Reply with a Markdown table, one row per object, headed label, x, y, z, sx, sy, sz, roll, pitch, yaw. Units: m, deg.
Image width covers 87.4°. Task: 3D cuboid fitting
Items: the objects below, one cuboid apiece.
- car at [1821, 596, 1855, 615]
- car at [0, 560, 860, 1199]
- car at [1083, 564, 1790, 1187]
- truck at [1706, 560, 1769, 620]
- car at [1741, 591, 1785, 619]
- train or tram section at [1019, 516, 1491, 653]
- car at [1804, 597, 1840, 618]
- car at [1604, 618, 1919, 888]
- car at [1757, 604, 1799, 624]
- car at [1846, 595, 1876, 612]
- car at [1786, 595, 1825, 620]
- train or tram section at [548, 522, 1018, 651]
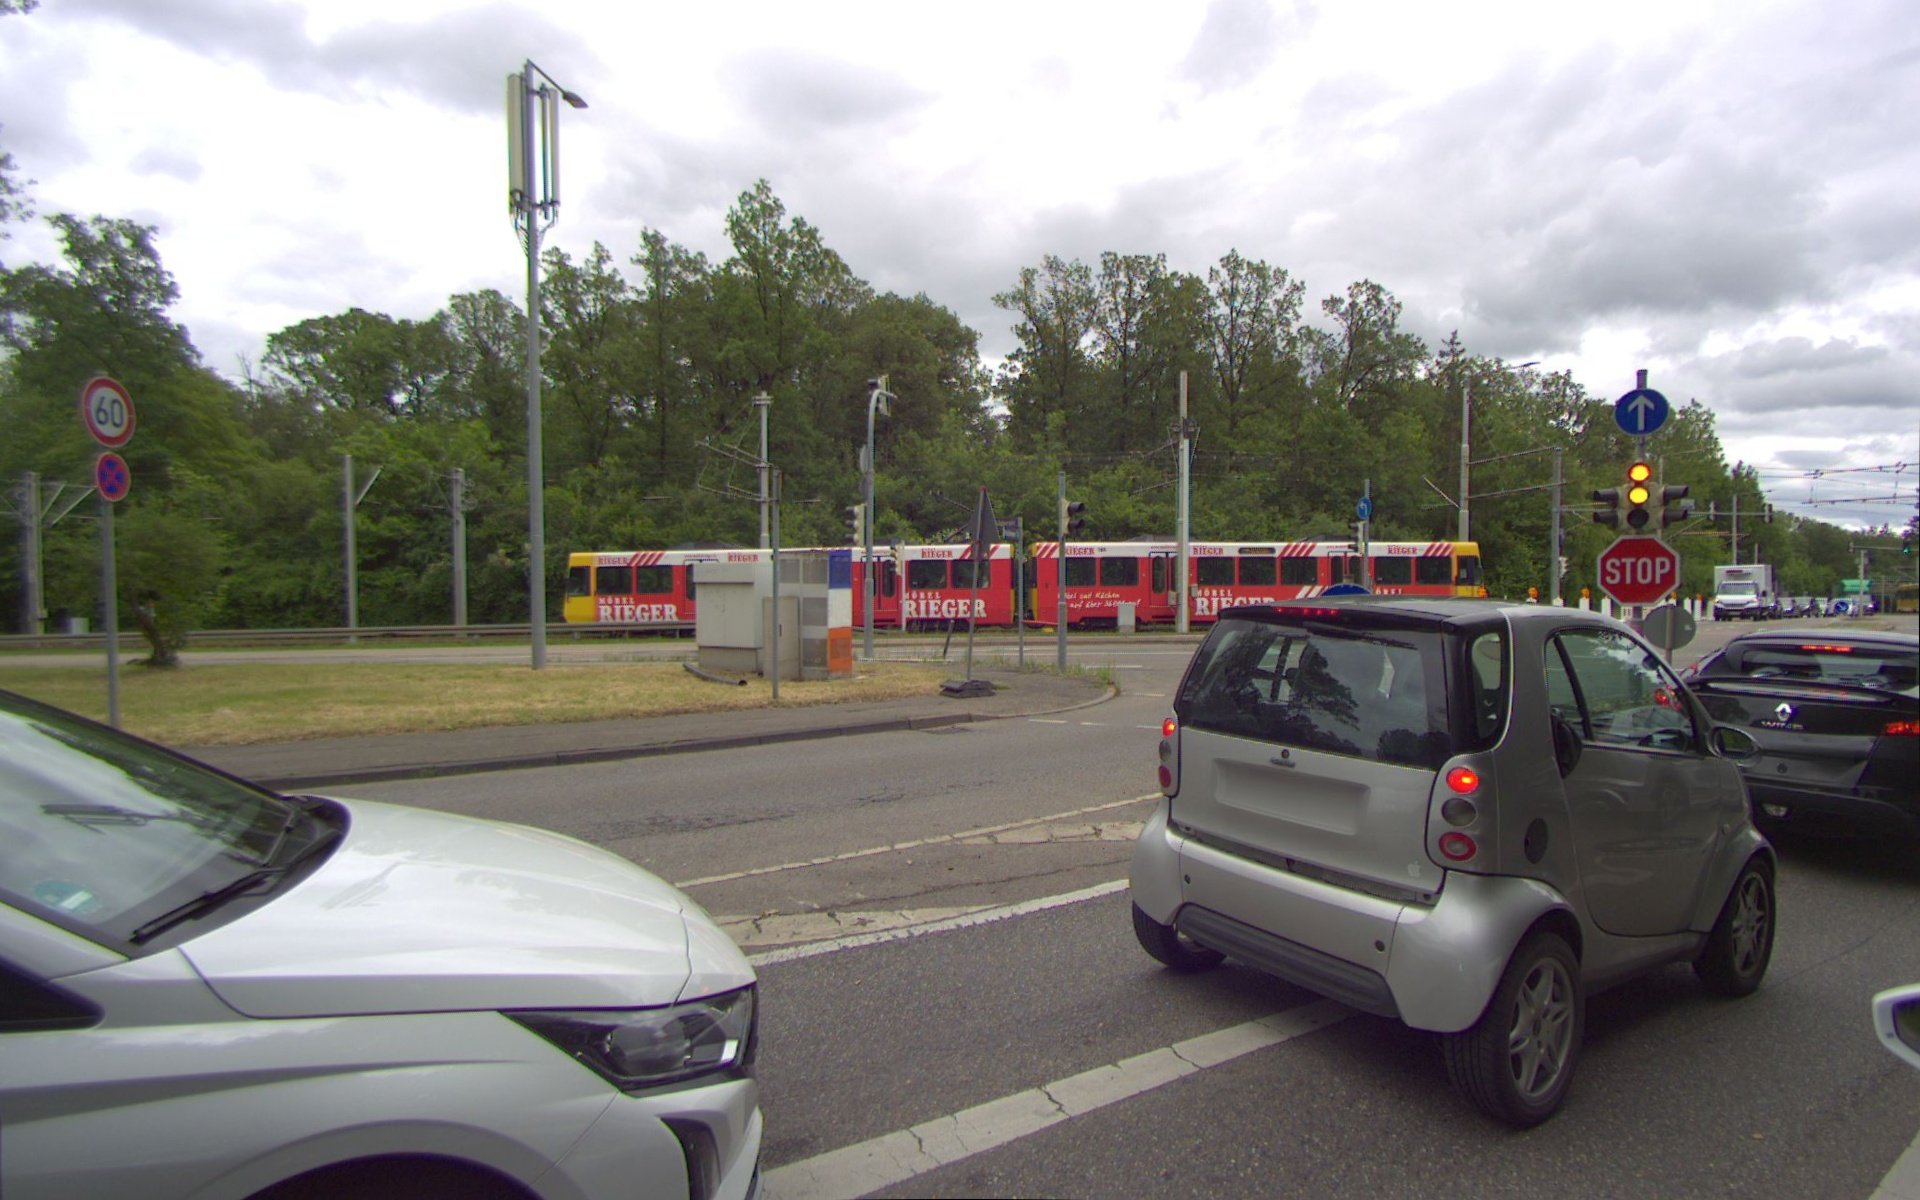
| label | x | y | z | sx | sy | sz | roll | pitch | yaw |
| --- | --- | --- | --- | --- | --- | --- | --- | --- | --- |
| car | 74.958 | 0.485 | 85.710 | 1.942 | 1.562 | 4.368 | 1 | 1 | 45 |
| car | -2.327 | 0.702 | 1.609 | 4.022 | 1.499 | 1.643 | 0 | 0 | -28 |
| car | 1.967 | 0.718 | 3.984 | 2.701 | 1.607 | 1.447 | 0 | 0 | -36 |
| truck | 45.054 | -0.509 | 58.105 | 2.421 | 3.267 | 7.117 | 0 | 0 | 42 |
| car | 53.500 | 0.320 | 66.881 | 1.941 | 1.773 | 4.818 | 1 | 1 | 43 |
| train or tram section | 11.648 | -0.561 | 40.294 | 18.191 | 4.712 | 2.954 | 2 | 0 | -4 |
| car | 70.343 | 0.607 | 81.956 | 1.942 | 1.628 | 4.283 | 1 | 1 | 45 |
| car | 5.996 | 0.838 | 6.889 | 3.448 | 1.380 | 1.759 | 0 | 0 | -41 |
| car | 59.249 | 0.995 | 72.762 | 1.942 | 1.380 | 4.660 | 1 | 1 | 45 |
| car | 84.856 | 0.328 | 94.590 | 1.942 | 1.561 | 4.283 | 1 | 1 | 45 |
| car | 65.815 | 0.550 | 78.189 | 1.942 | 1.869 | 4.660 | 1 | 1 | 45 |
| train or tram section | -6.975 | -0.579 | 40.374 | 18.351 | 4.477 | 2.967 | 2 | 0 | 6 |
